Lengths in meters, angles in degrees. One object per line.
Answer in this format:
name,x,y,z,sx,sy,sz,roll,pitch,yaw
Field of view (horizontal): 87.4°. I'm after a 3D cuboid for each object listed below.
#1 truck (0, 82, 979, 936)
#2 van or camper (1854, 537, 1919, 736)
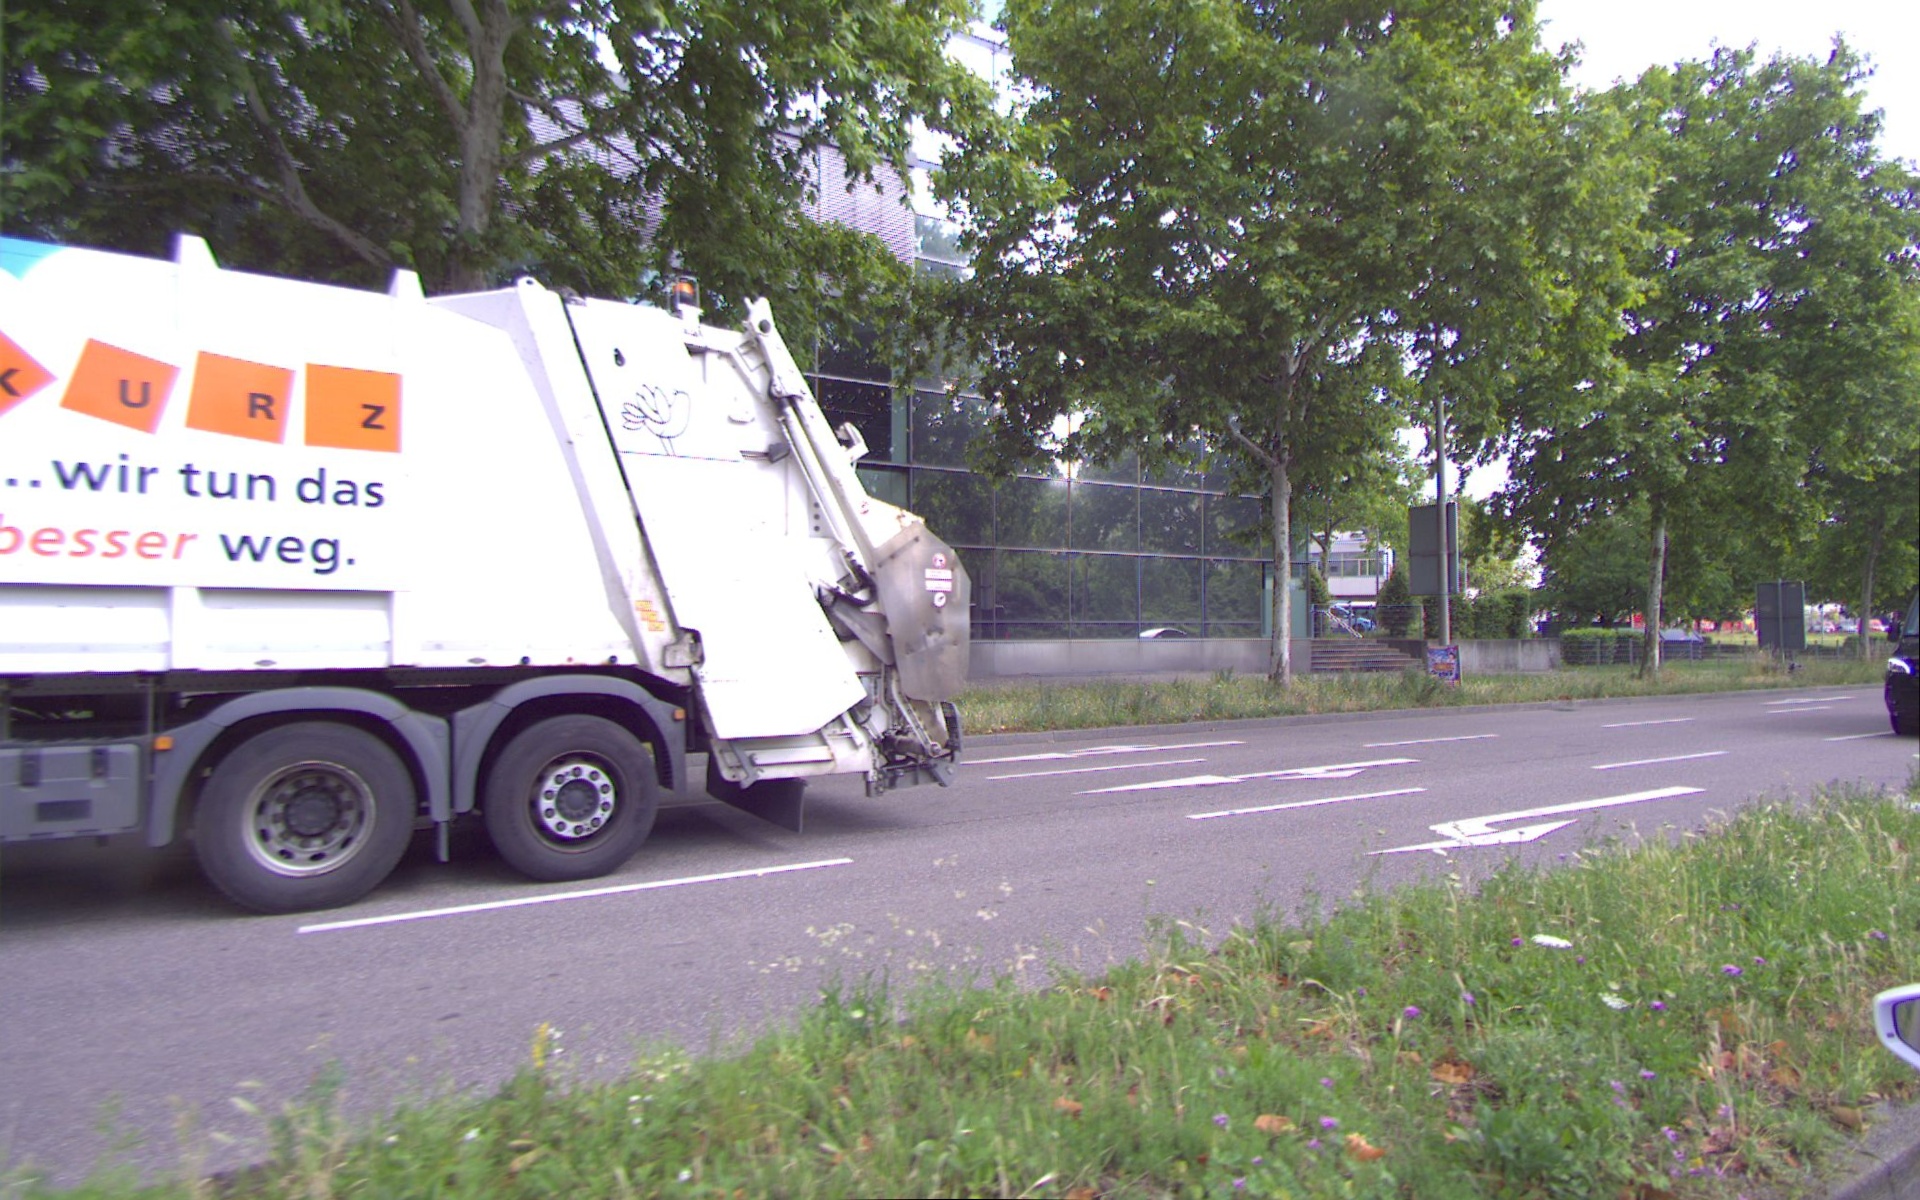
truck,-4.872,-0.375,5.870,10.037,3.938,2.639,1,-3,-30
van or camper,16.037,0.564,15.112,6.644,2.694,2.093,2,-3,-33
